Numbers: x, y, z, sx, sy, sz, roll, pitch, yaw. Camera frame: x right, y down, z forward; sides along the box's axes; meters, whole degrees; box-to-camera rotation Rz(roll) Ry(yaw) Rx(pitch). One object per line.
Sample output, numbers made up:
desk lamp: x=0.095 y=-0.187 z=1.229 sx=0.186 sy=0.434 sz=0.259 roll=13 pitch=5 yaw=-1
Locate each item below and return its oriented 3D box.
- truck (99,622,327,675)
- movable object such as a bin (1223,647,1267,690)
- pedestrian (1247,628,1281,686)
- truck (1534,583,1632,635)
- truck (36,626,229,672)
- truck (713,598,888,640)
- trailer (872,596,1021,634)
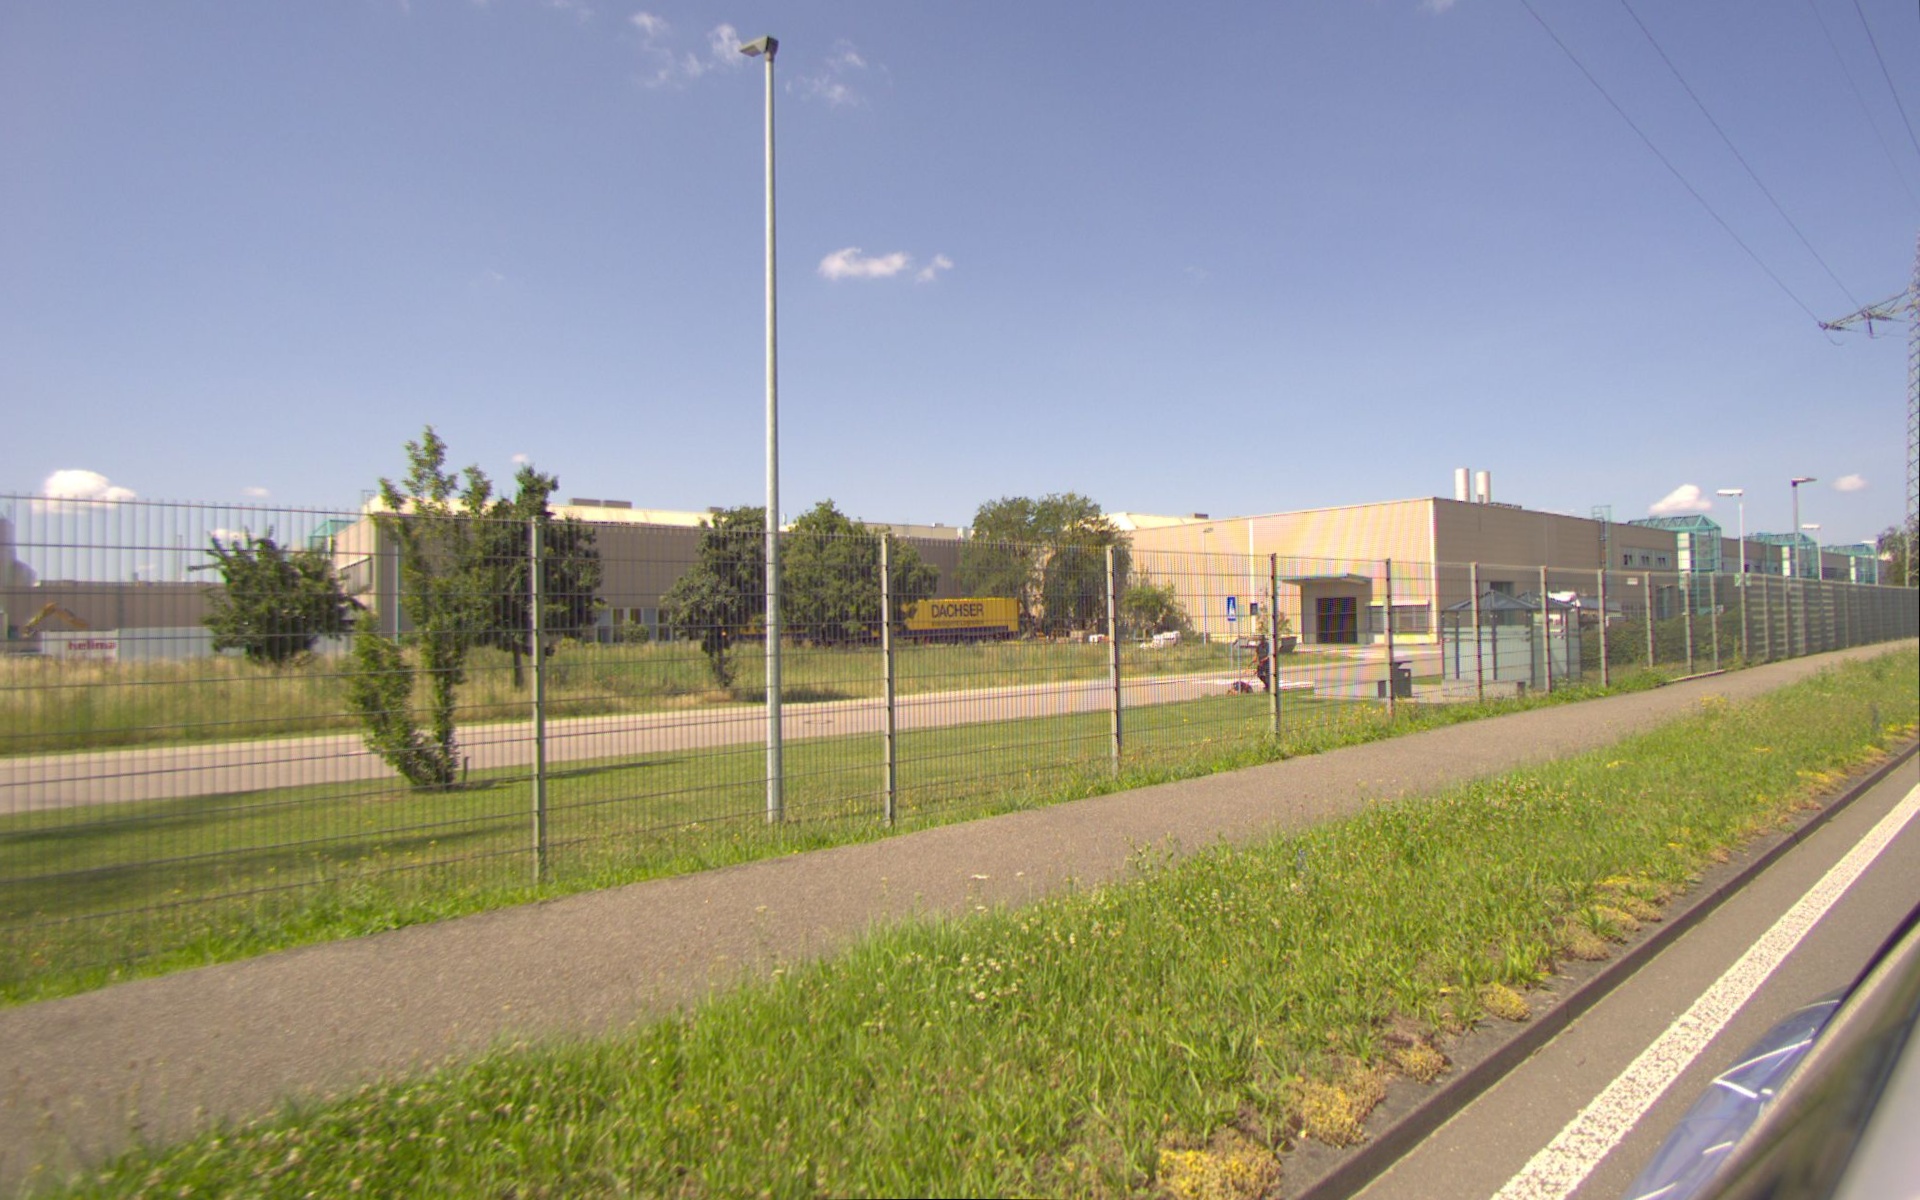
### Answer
truck: x=-47.676 y=3.021 z=65.074 sx=11.642 sy=3.000 sz=1.996 roll=0 pitch=-3 yaw=-40
movable object such as a bin: x=8.531 y=2.034 z=30.282 sx=1.540 sy=1.201 sz=0.420 roll=0 pitch=-3 yaw=-41
pedestrian: x=9.341 y=1.737 z=31.094 sx=0.778 sy=1.752 sz=0.592 roll=0 pitch=-3 yaw=-40
truck: x=49.107 y=0.622 z=79.601 sx=11.466 sy=3.789 sz=2.862 roll=-1 pitch=0 yaw=-39
truck: x=-64.694 y=3.747 z=79.597 sx=11.642 sy=3.178 sz=1.996 roll=0 pitch=-3 yaw=-40
truck: x=-11.376 y=1.300 z=74.104 sx=13.494 sy=2.747 sz=1.997 roll=-1 pitch=0 yaw=-40
trailer: x=-0.875 y=1.144 z=82.704 sx=13.841 sy=2.747 sz=1.998 roll=-1 pitch=0 yaw=-38
